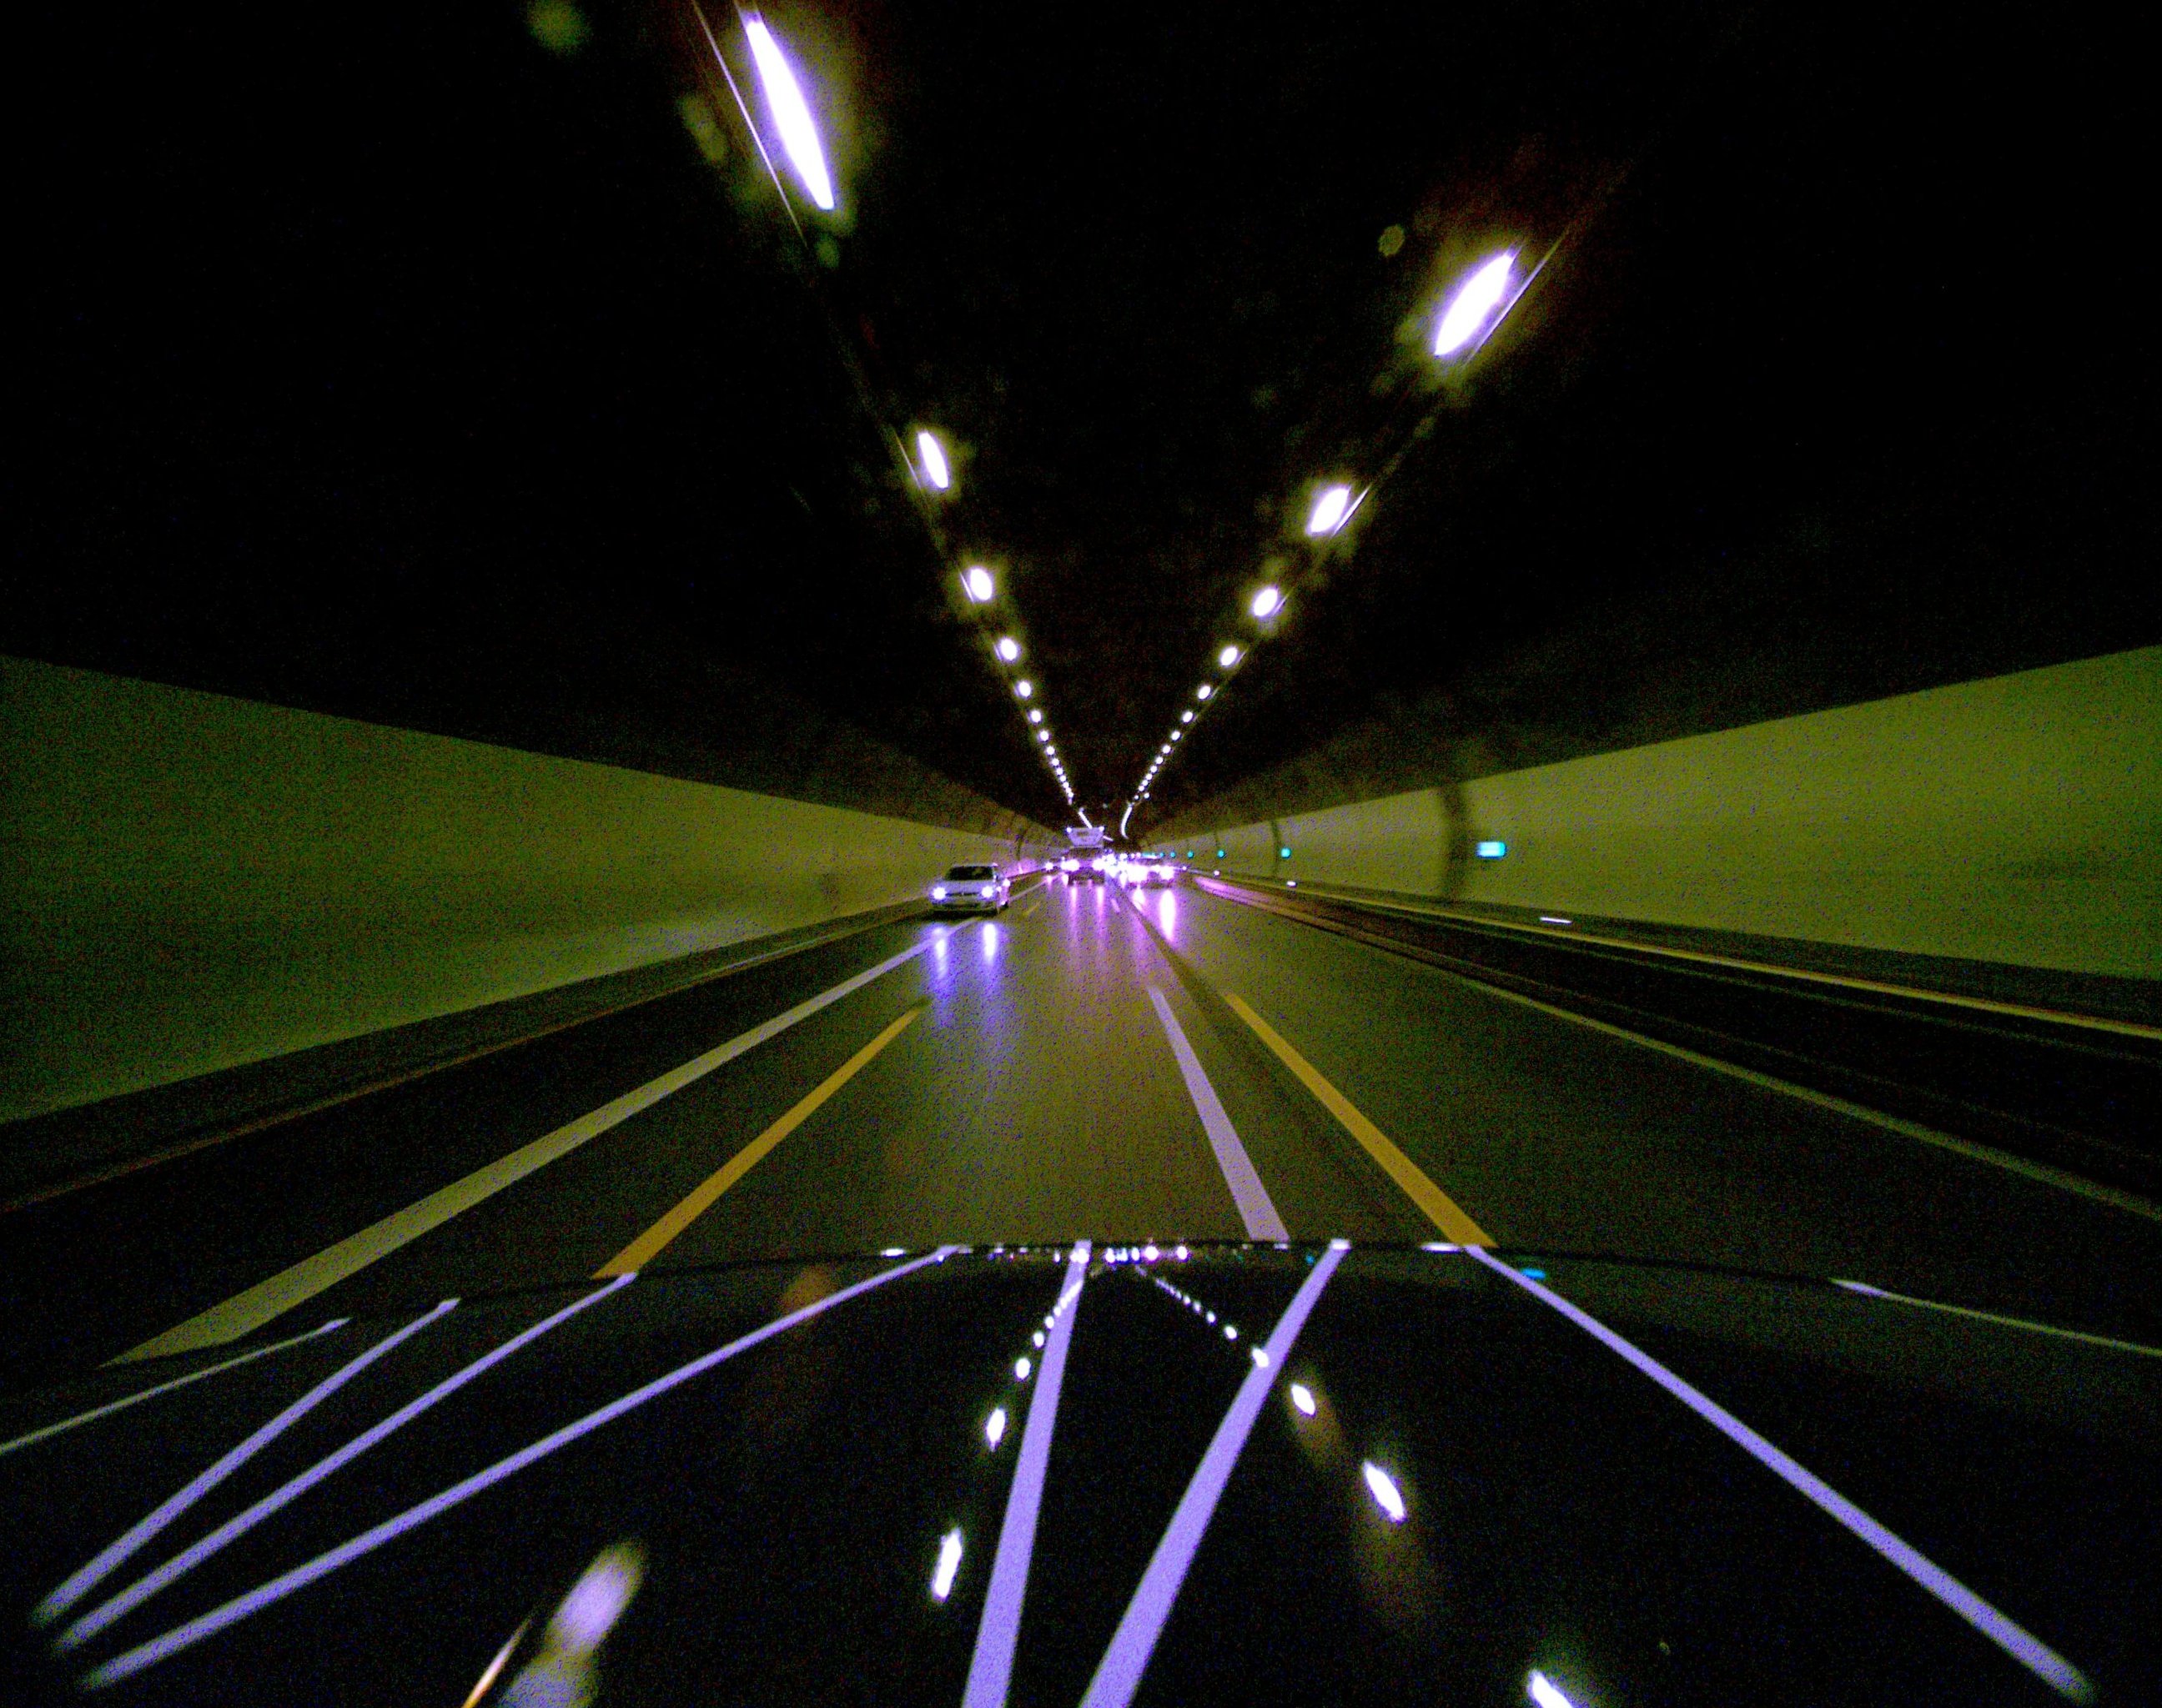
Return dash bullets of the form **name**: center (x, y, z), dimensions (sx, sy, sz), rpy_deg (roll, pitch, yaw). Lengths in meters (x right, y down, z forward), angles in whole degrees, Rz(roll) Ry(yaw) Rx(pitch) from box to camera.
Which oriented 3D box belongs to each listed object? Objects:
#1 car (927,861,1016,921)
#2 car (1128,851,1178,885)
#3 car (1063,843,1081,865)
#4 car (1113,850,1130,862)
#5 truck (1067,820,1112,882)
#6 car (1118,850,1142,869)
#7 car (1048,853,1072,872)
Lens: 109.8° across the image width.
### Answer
- **car**: center (-3.043, 0.988, 21.985), dimensions (1.801, 1.452, 4.035), rpy_deg (-2, 0, 2)
- **car**: center (3.357, 0.646, 36.295), dimensions (1.908, 1.476, 4.943), rpy_deg (-2, 0, 0)
- **car**: center (-1.135, -0.023, 99.102), dimensions (2.124, 2.629, 6.229), rpy_deg (-3, 1, 0)
- **car**: center (5.576, 0.241, 106.111), dimensions (1.958, 1.528, 4.757), rpy_deg (-5, 1, 0)
- **truck**: center (0.469, -0.169, 44.563), dimensions (2.262, 3.238, 7.382), rpy_deg (-3, 1, 0)
- **car**: center (3.940, 0.446, 61.779), dimensions (1.657, 1.395, 3.656), rpy_deg (-2, 1, 0)
- **car**: center (-1.846, 0.762, 69.166), dimensions (1.958, 1.528, 4.757), rpy_deg (-3, 1, 0)
